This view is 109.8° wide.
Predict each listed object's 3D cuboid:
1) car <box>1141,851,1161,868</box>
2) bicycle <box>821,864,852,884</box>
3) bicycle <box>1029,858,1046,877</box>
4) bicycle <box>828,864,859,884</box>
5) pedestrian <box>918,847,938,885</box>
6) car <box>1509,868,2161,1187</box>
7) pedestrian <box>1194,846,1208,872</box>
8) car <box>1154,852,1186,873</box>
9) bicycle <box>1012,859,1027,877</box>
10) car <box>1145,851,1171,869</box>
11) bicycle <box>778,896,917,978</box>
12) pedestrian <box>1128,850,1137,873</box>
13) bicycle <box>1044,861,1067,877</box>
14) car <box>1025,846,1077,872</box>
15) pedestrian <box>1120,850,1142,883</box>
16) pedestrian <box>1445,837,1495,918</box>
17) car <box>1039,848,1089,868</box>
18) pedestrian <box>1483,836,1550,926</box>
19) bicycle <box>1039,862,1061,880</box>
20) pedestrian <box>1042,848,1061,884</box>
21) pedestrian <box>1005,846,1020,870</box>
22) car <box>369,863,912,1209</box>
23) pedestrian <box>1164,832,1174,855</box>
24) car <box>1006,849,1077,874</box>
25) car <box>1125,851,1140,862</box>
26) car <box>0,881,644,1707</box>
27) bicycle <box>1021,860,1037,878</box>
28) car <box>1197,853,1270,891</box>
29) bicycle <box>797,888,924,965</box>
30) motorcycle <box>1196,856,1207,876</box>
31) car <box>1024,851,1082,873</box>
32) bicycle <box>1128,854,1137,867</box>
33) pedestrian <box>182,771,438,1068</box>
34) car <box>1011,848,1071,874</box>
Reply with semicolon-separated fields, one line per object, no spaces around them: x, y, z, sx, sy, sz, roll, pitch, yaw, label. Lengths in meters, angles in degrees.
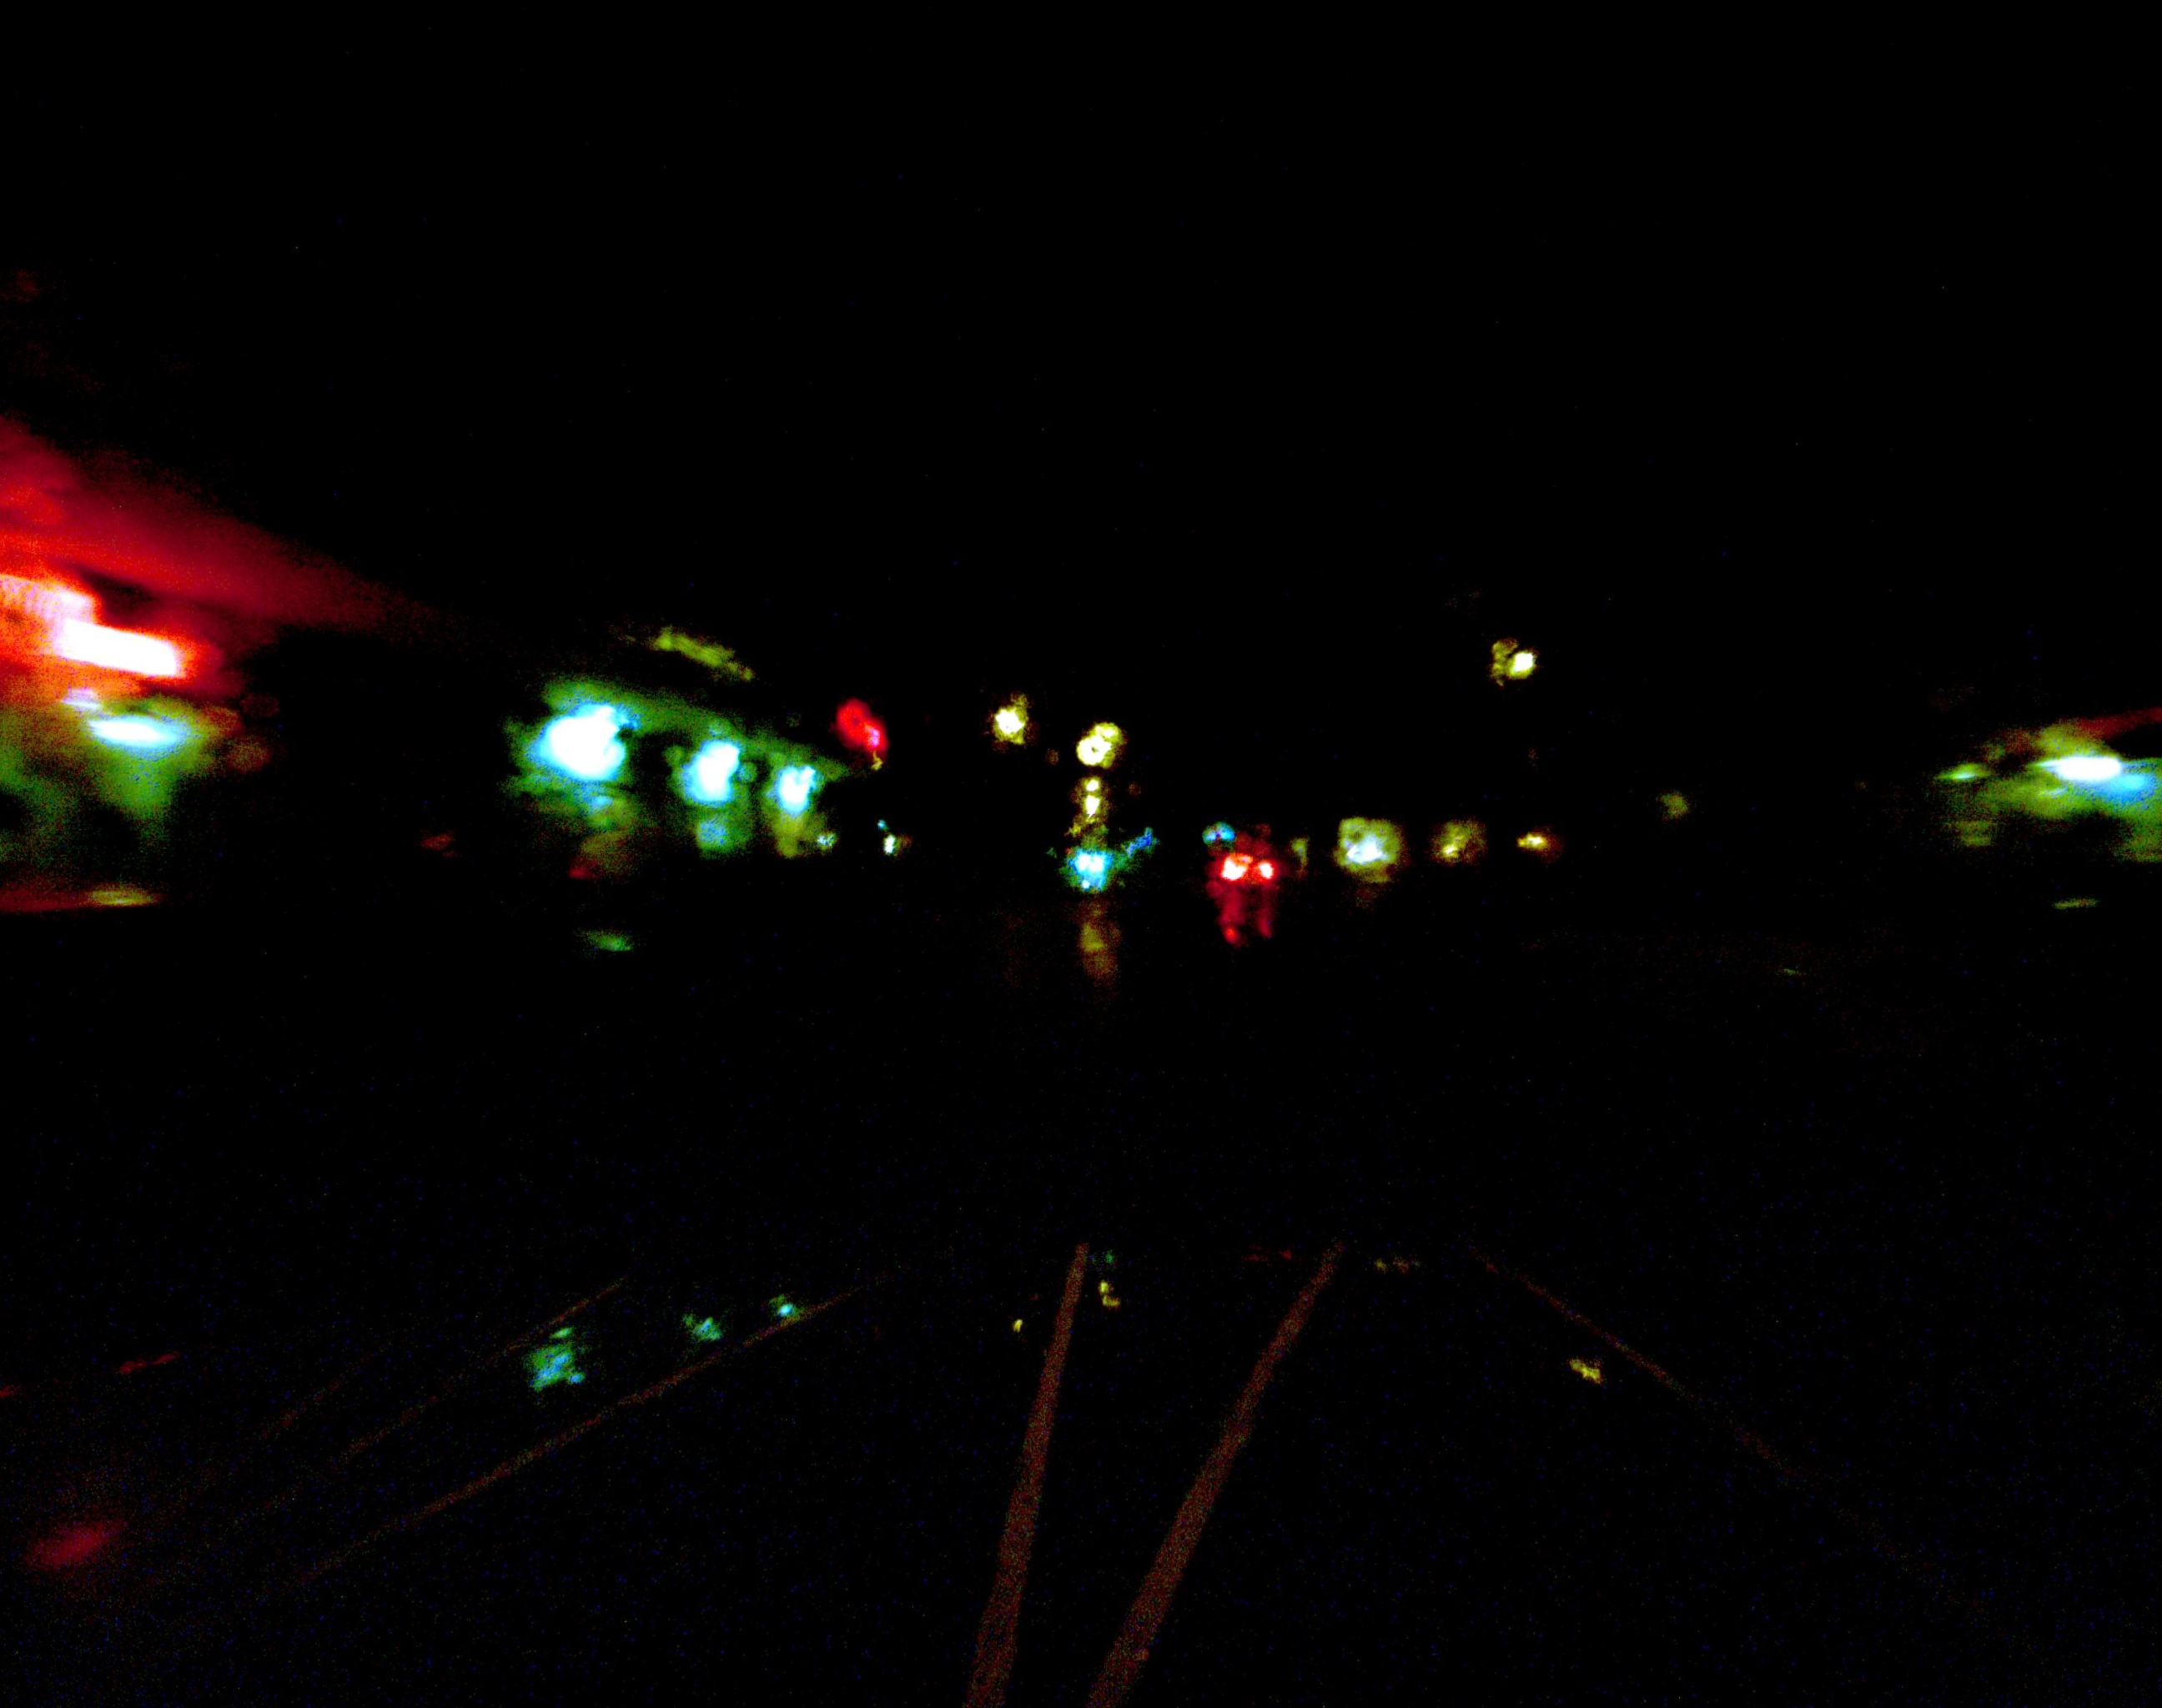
6.648;0.483;72.465;1.720;1.470;3.786;-2;0;3;car
-12.718;1.047;39.519;0.378;1.003;1.813;0;0;25;bicycle
-2.677;0.808;46.837;0.336;1.021;1.641;-2;4;-29;bicycle
-12.256;1.033;39.206;0.402;1.003;1.813;0;0;25;bicycle
-7.534;0.588;37.429;0.676;1.822;1.078;-2;1;3;pedestrian
5.241;0.918;5.867;1.590;1.455;4.024;-4;0;1;car
8.264;0.360;52.376;0.827;1.761;0.600;-1;1;13;pedestrian
6.610;0.600;56.599;1.851;1.470;5.030;-1;0;1;car
-3.764;0.853;46.298;0.336;1.020;1.642;1;1;-25;bicycle
6.784;0.506;67.132;1.721;1.470;4.158;-1;0;-3;car
-3.178;1.125;10.413;1.766;1.073;0.435;0;0;-1;bicycle
4.124;0.621;61.046;0.714;1.801;1.125;0;0;2;pedestrian
-1.600;0.929;47.454;1.641;1.020;0.337;0;0;44;bicycle
-2.410;0.404;60.760;3.747;2.017;1.717;1;0;-34;car
2.830;0.678;43.012;0.876;1.823;0.986;0;1;37;pedestrian
9.188;0.539;17.981;0.797;1.847;0.947;2;1;13;pedestrian
-1.757;0.405;77.739;4.719;1.968;1.975;1;0;-29;car
8.844;0.527;15.466;0.805;1.756;1.016;-2;1;7;pedestrian
-1.946;1.055;47.078;0.337;1.020;1.641;1;2;-44;bicycle
-1.519;0.604;39.465;0.958;1.852;1.415;0;1;-1;pedestrian
-5.164;0.278;57.085;0.789;1.807;0.812;1;3;25;pedestrian
-2.658;0.939;5.885;1.757;1.557;4.153;-2;1;-1;car
8.665;-1.044;74.641;0.801;2.228;1.116;0;1;-1;pedestrian
-2.549;0.508;49.571;4.270;1.564;1.767;1;0;-28;car
7.089;0.323;105.558;1.851;1.470;3.735;-2;0;0;car
-2.567;0.936;0.708;1.757;1.529;4.397;-2;1;-1;car
-3.187;0.894;46.492;0.336;1.086;1.643;1;0;-25;bicycle
6.200;0.692;31.300;1.568;1.419;4.065;0;1;-10;car
-3.295;1.084;11.423;1.787;1.118;0.435;0;0;-1;bicycle
9.204;0.922;57.942;0.538;1.462;1.457;-2;1;0;motorcycle
-2.127;0.642;57.943;4.080;1.588;1.829;1;0;-34;car
4.132;0.535;61.102;0.714;1.053;1.802;0;0;2;bicycle
-6.133;0.483;6.126;1.056;2.196;0.970;1;1;0;pedestrian
-2.749;0.478;52.417;3.747;1.702;1.767;1;0;-34;car
